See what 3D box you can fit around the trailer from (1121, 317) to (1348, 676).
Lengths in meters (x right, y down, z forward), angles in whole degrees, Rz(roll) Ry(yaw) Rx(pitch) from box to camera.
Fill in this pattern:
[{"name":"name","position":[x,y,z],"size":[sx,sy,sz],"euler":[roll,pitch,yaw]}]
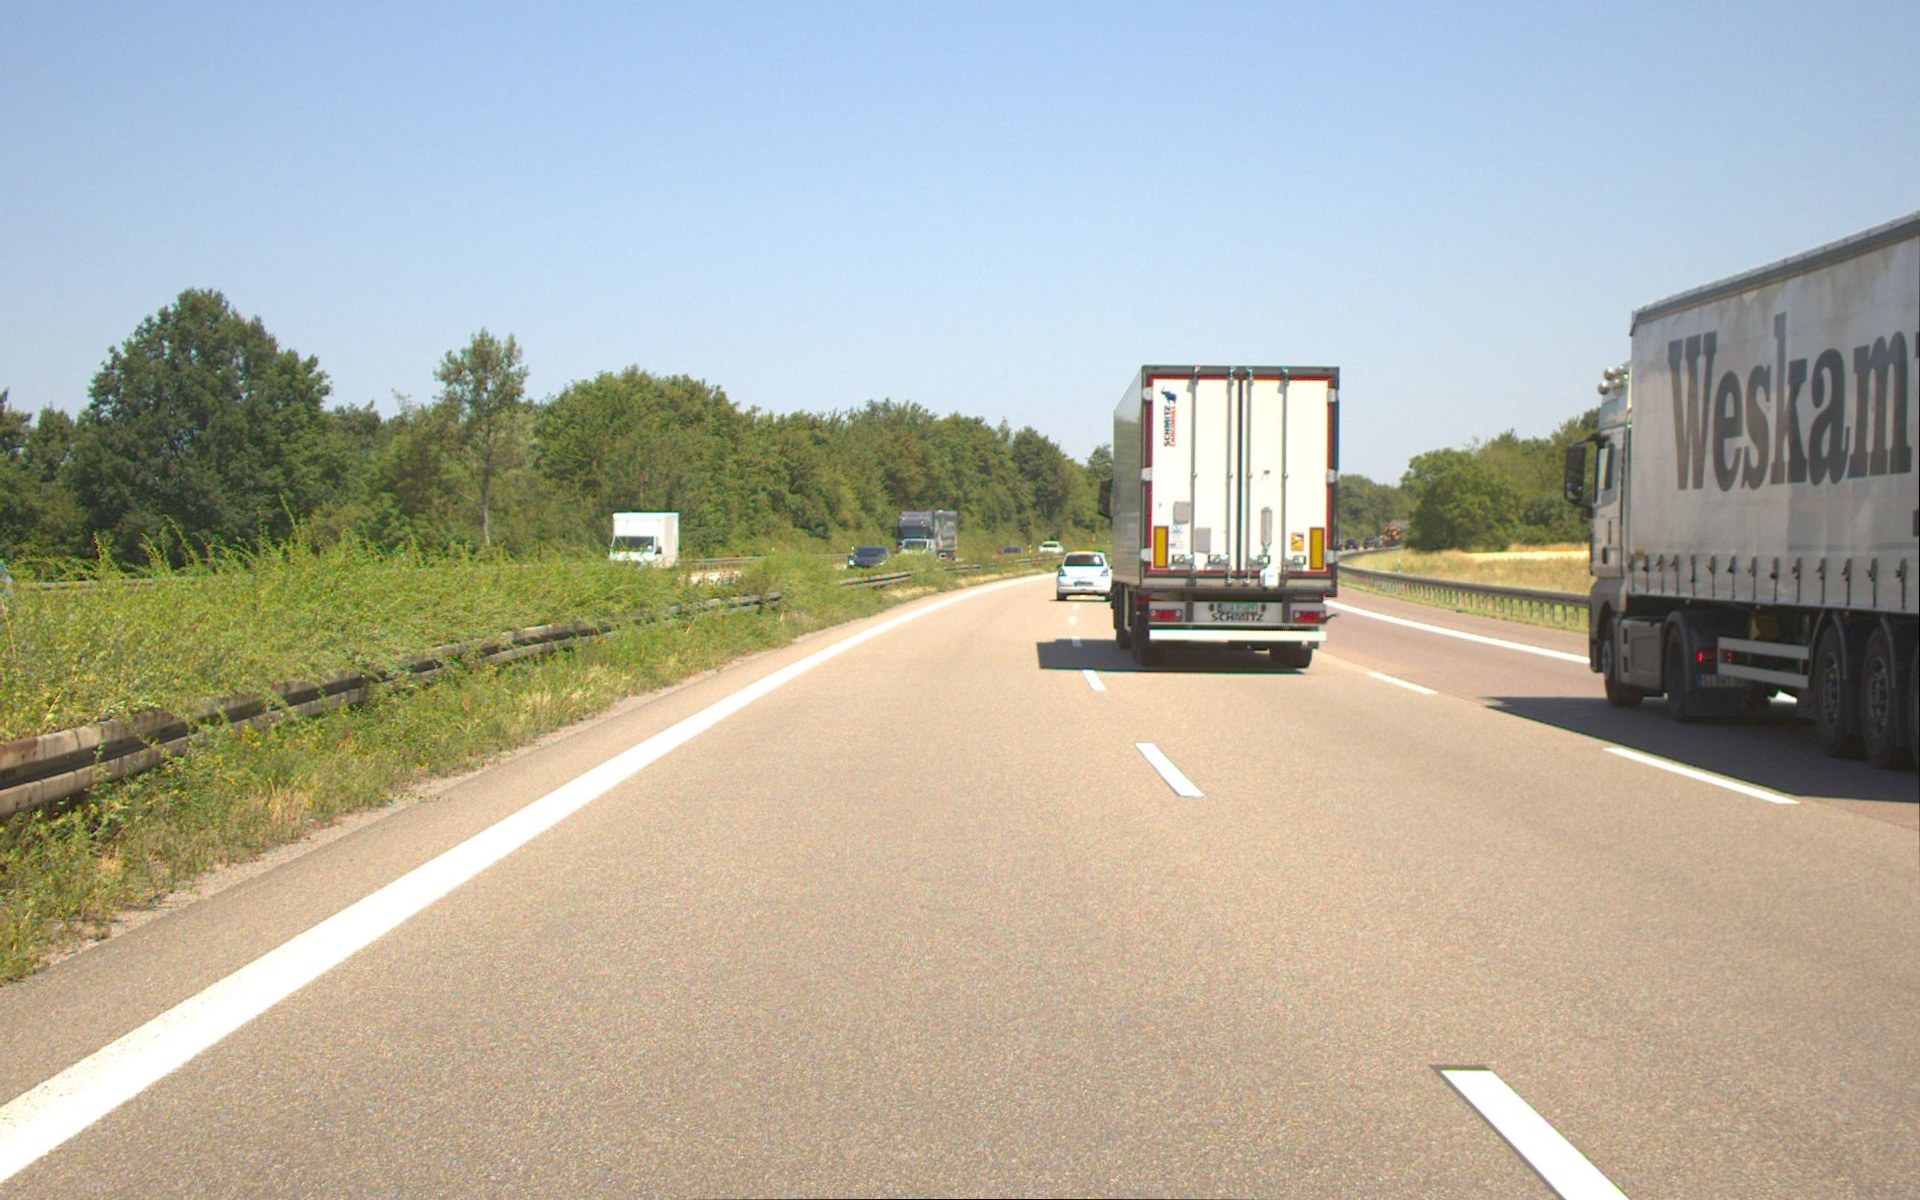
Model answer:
[{"name":"trailer","position":[4.003,-1.471,51.751],"size":[2.901,4.641,13.985],"euler":[1,1,4]}]

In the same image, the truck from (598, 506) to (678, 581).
[{"name":"truck","position":[-13.525,-2.381,144.907],"size":[2.452,3.088,6.990],"euler":[0,1,2]}]

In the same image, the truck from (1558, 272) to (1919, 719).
[{"name":"truck","position":[7.910,-1.038,35.385],"size":[2.600,4.241,5.089],"euler":[1,1,0]}]

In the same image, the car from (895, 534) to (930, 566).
[{"name":"car","position":[-3.126,-3.277,226.963],"size":[2.058,2.064,5.409],"euler":[-1,1,1]}]

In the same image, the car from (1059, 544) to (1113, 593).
[{"name":"car","position":[3.909,-0.976,106.462],"size":[1.627,1.474,4.000],"euler":[0,1,2]}]

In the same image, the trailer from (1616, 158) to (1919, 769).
[{"name":"trailer","position":[7.937,-0.963,27.759],"size":[2.595,4.237,13.641],"euler":[1,0,0]}]

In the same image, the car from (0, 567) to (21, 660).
[{"name":"car","position":[-16.972,0.246,56.981],"size":[1.710,1.568,4.404],"euler":[-1,1,-2]}]
